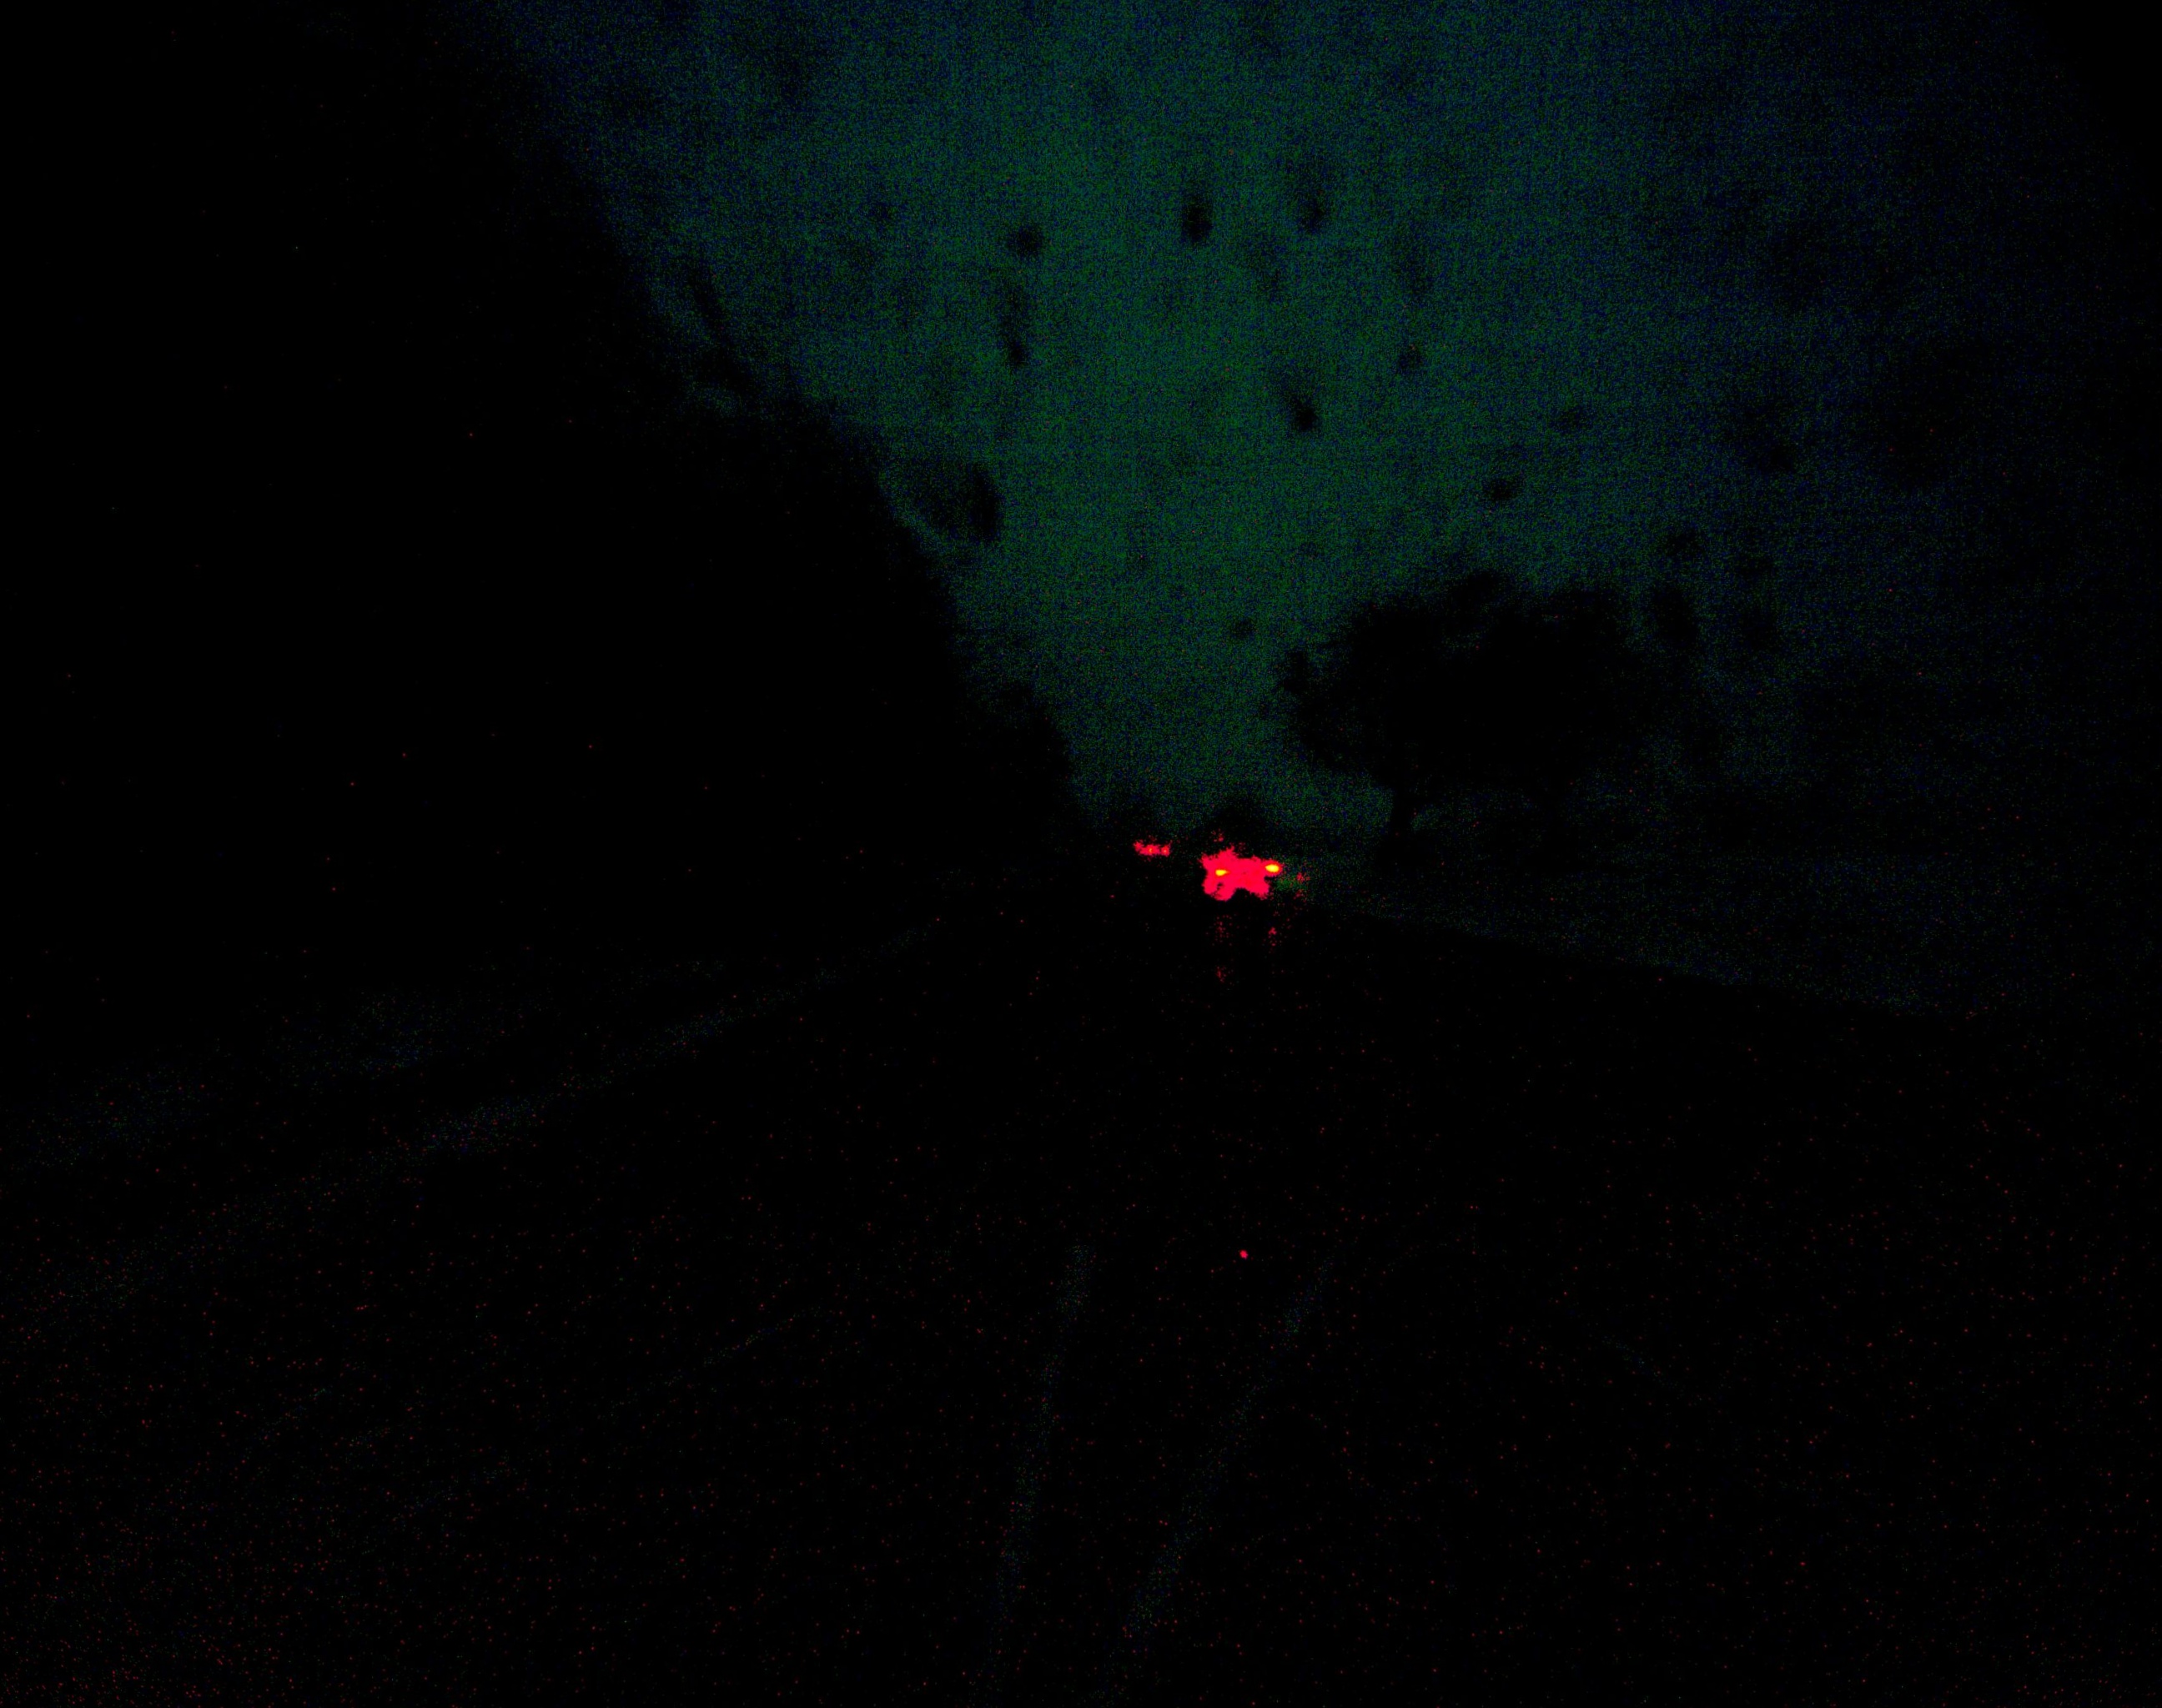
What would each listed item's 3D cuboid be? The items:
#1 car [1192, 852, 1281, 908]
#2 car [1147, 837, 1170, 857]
[{"bbox_3d":[4.409,0.699,22.069,1.746,1.477,4.004,0,0,0],"label":"car"},{"bbox_3d":[6.707,-0.605,65.336,1.755,1.683,4.428,-1,1,8],"label":"car"}]
